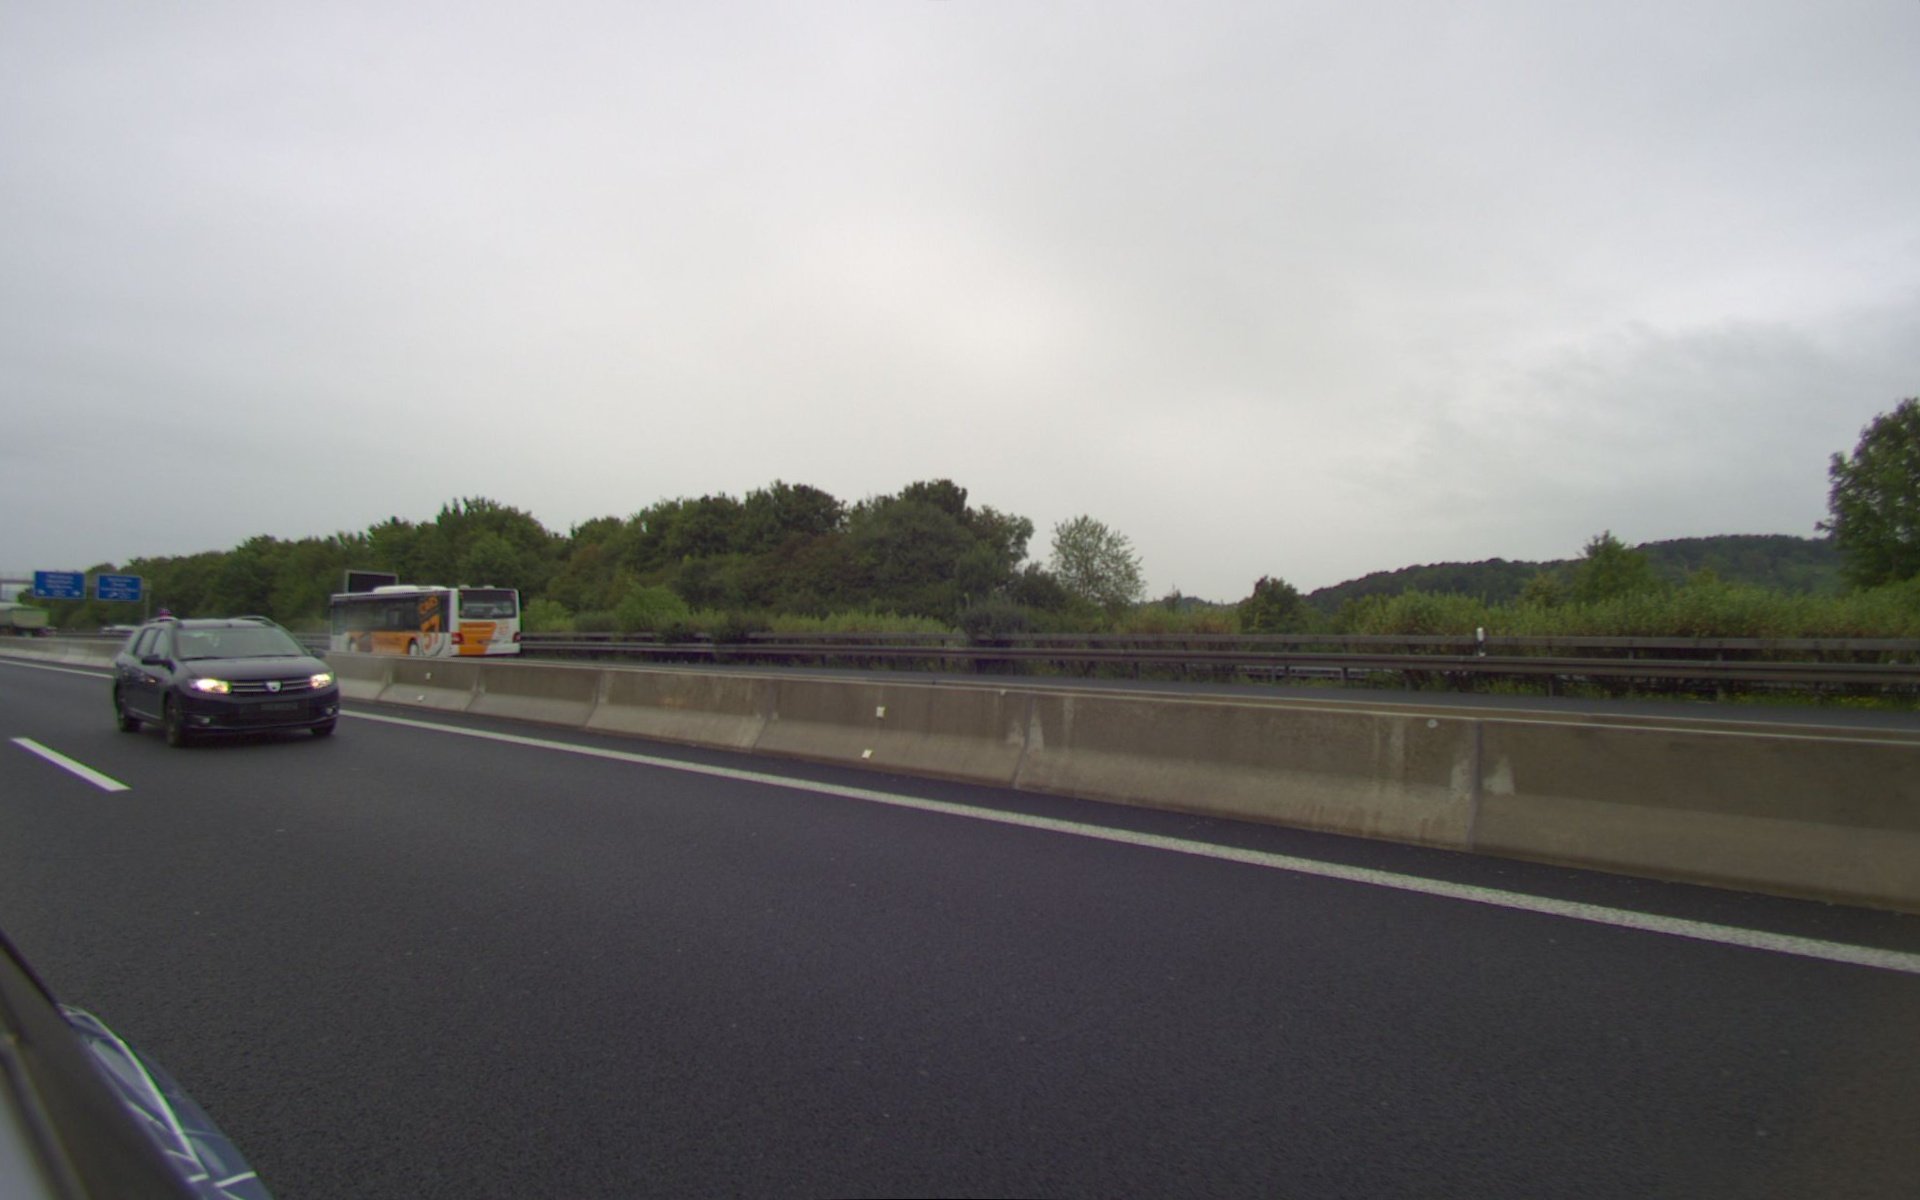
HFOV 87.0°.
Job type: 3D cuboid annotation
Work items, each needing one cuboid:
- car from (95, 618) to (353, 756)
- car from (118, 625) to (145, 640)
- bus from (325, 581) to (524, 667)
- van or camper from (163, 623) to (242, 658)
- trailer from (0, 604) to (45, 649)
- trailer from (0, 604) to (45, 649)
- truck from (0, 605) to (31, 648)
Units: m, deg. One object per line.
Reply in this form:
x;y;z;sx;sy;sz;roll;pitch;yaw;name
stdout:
-9.716;0.992;13.217;4.564;1.501;1.703;-1;-2;41;car
-99.625;3.943;121.650;4.409;1.800;1.782;-1;-3;41;car
-21.315;0.927;39.756;11.889;2.981;2.671;-1;-2;40;bus
-32.805;1.717;43.766;4.582;1.458;1.730;-1;-2;40;van or camper
-83.019;2.303;88.619;8.917;3.777;2.874;-1;-2;39;trailer
-83.019;2.303;88.619;8.917;3.777;2.874;-1;-2;39;trailer
-86.516;2.352;91.484;5.938;3.777;2.859;-1;-2;39;truck
